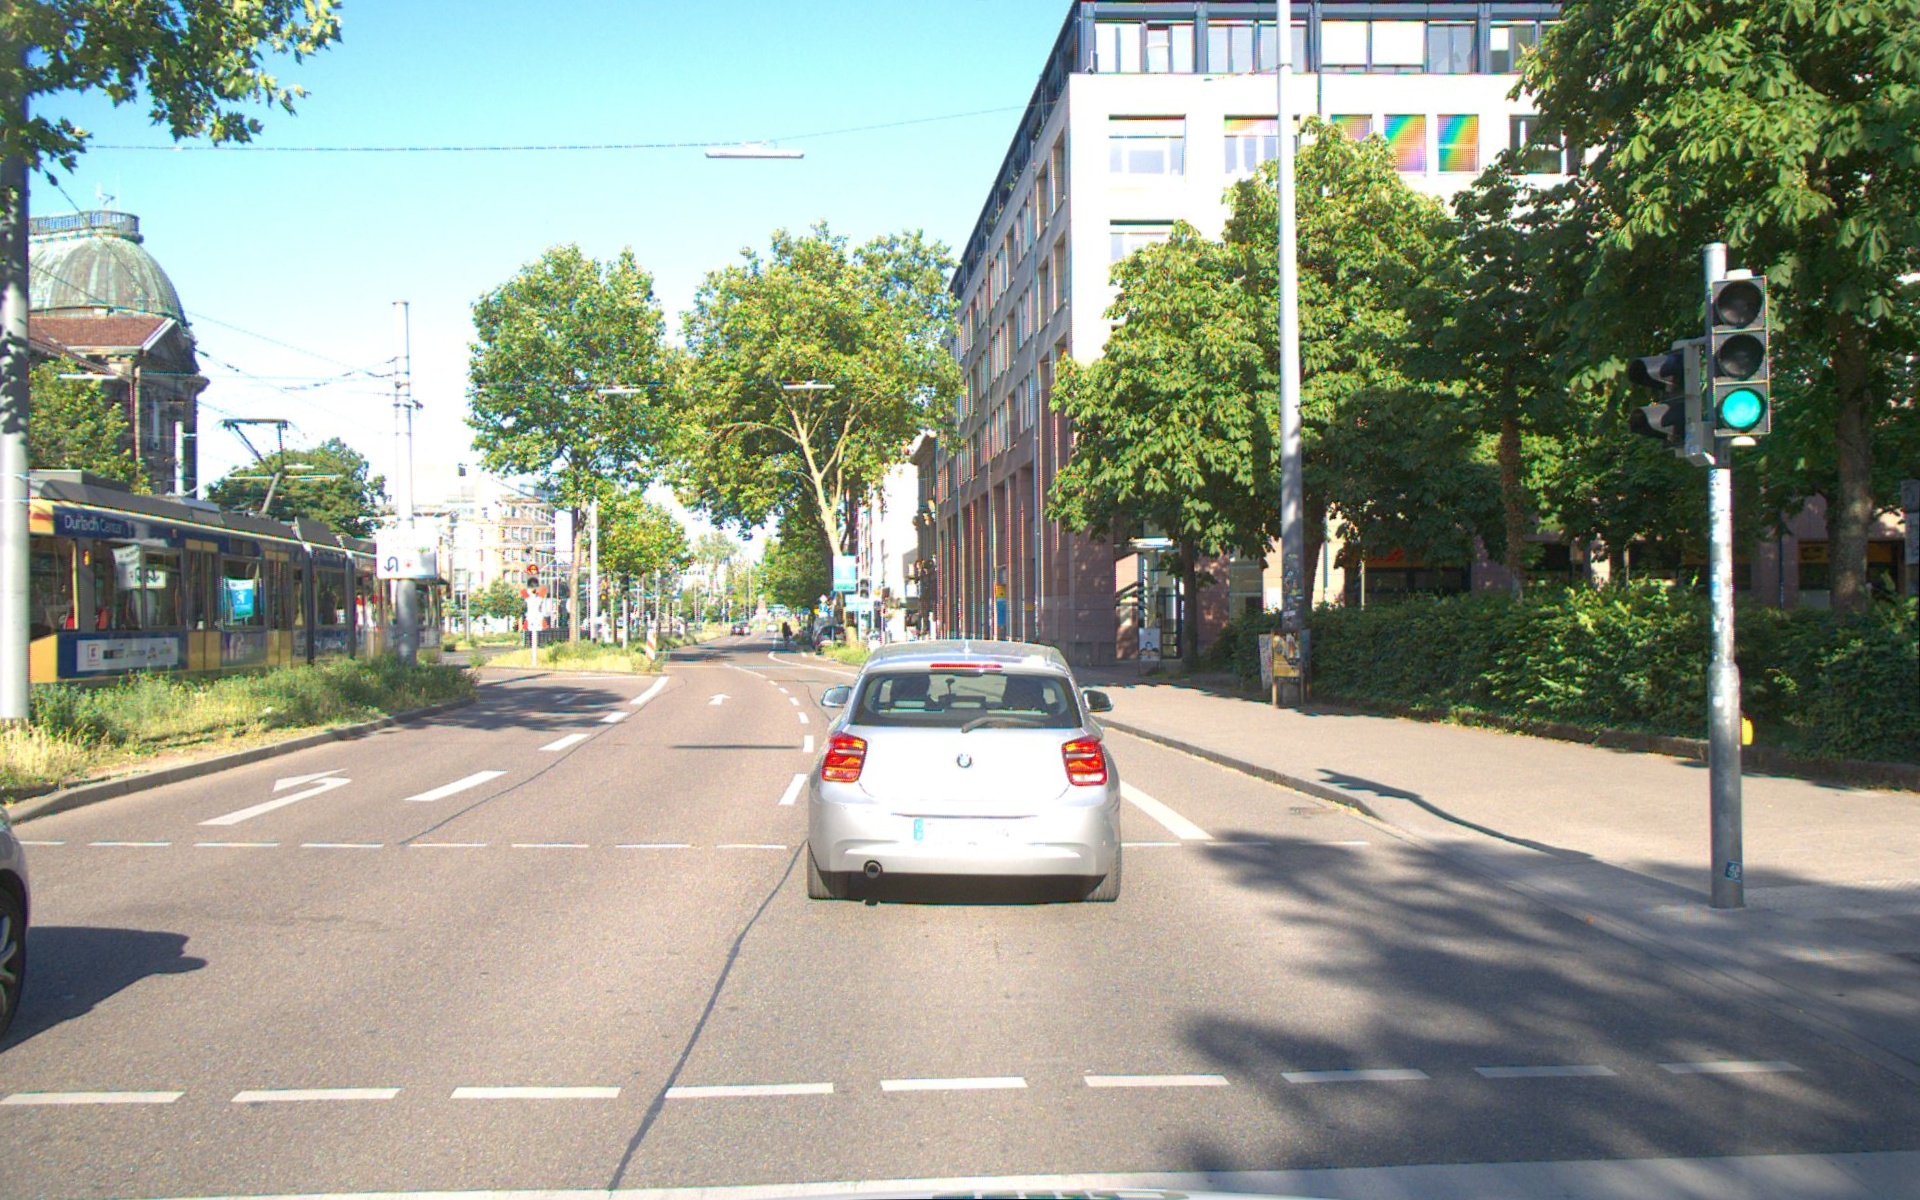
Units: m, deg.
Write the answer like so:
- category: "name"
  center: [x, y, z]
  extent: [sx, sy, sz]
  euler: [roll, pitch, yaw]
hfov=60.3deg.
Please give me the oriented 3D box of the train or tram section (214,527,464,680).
- category: "train or tram section"
  center: [-15.658, 0.301, 43.062]
  extent: [2.859, 3.318, 13.092]
  euler: [1, -2, -6]

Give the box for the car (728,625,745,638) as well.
- category: "car"
  center: [-28.698, 4.040, 212.340]
  extent: [1.959, 1.512, 3.987]
  euler: [0, -1, -12]

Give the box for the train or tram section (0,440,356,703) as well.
- category: "train or tram section"
  center: [-14.030, -0.135, 28.690]
  extent: [2.858, 3.318, 15.868]
  euler: [1, -2, -6]

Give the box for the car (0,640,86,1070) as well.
- category: "car"
  center: [-3.888, 0.820, 4.259]
  extent: [1.628, 1.434, 3.627]
  euler: [1, -1, -6]

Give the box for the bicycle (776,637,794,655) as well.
- category: "bicycle"
  center: [-11.085, 2.900, 104.962]
  extent: [0.814, 1.059, 1.875]
  euler: [-1, -1, 3]

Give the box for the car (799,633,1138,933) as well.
- category: "car"
  center: [0.090, 0.962, 10.279]
  extent: [1.694, 1.415, 3.840]
  euler: [1, 0, 1]

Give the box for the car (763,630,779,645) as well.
- category: "car"
  center: [-28.687, 5.688, 250.817]
  extent: [1.953, 2.049, 3.998]
  euler: [1, -2, -1]

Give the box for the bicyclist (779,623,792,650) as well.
- category: "bicyclist"
  center: [-11.085, 2.312, 104.972]
  extent: [0.644, 1.686, 0.765]
  euler: [-1, -1, 3]
